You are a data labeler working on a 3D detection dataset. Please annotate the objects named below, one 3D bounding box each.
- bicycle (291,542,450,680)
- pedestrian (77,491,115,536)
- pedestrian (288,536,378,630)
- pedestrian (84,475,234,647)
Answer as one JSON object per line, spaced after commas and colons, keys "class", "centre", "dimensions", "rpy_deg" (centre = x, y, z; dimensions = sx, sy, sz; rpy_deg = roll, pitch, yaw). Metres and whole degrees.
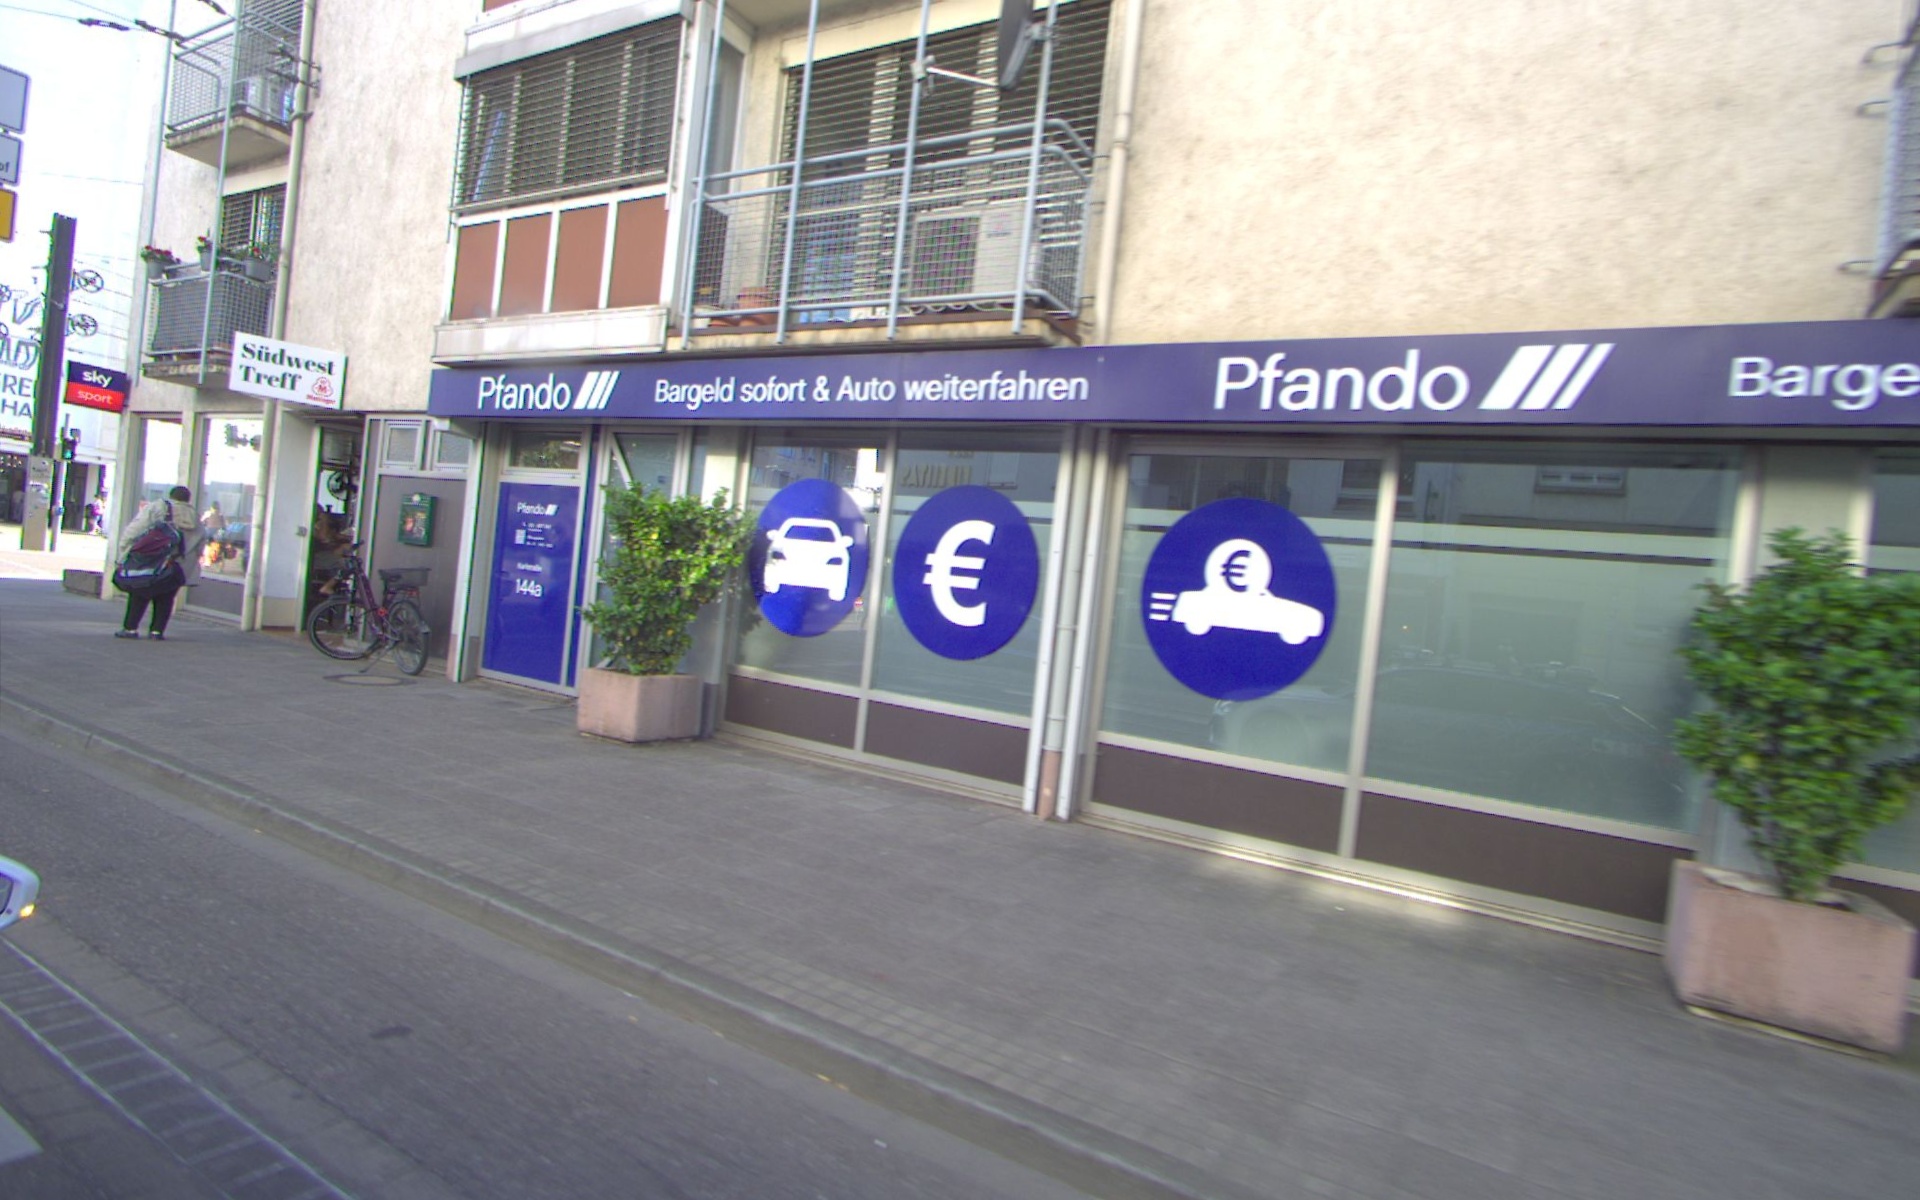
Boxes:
{"class": "bicycle", "centre": [-5.811, 0.094, 9.881], "dimensions": [1.748, 1.176, 0.497], "rpy_deg": [6, 0, 31]}
{"class": "pedestrian", "centre": [-37.585, -3.764, 43.752], "dimensions": [0.725, 1.766, 0.909], "rpy_deg": [6, -1, 31]}
{"class": "pedestrian", "centre": [-8.028, -0.216, 12.901], "dimensions": [0.667, 1.102, 0.624], "rpy_deg": [7, 1, -3]}
{"class": "pedestrian", "centre": [-8.164, -0.386, 10.274], "dimensions": [0.796, 1.614, 0.885], "rpy_deg": [7, 3, 26]}
